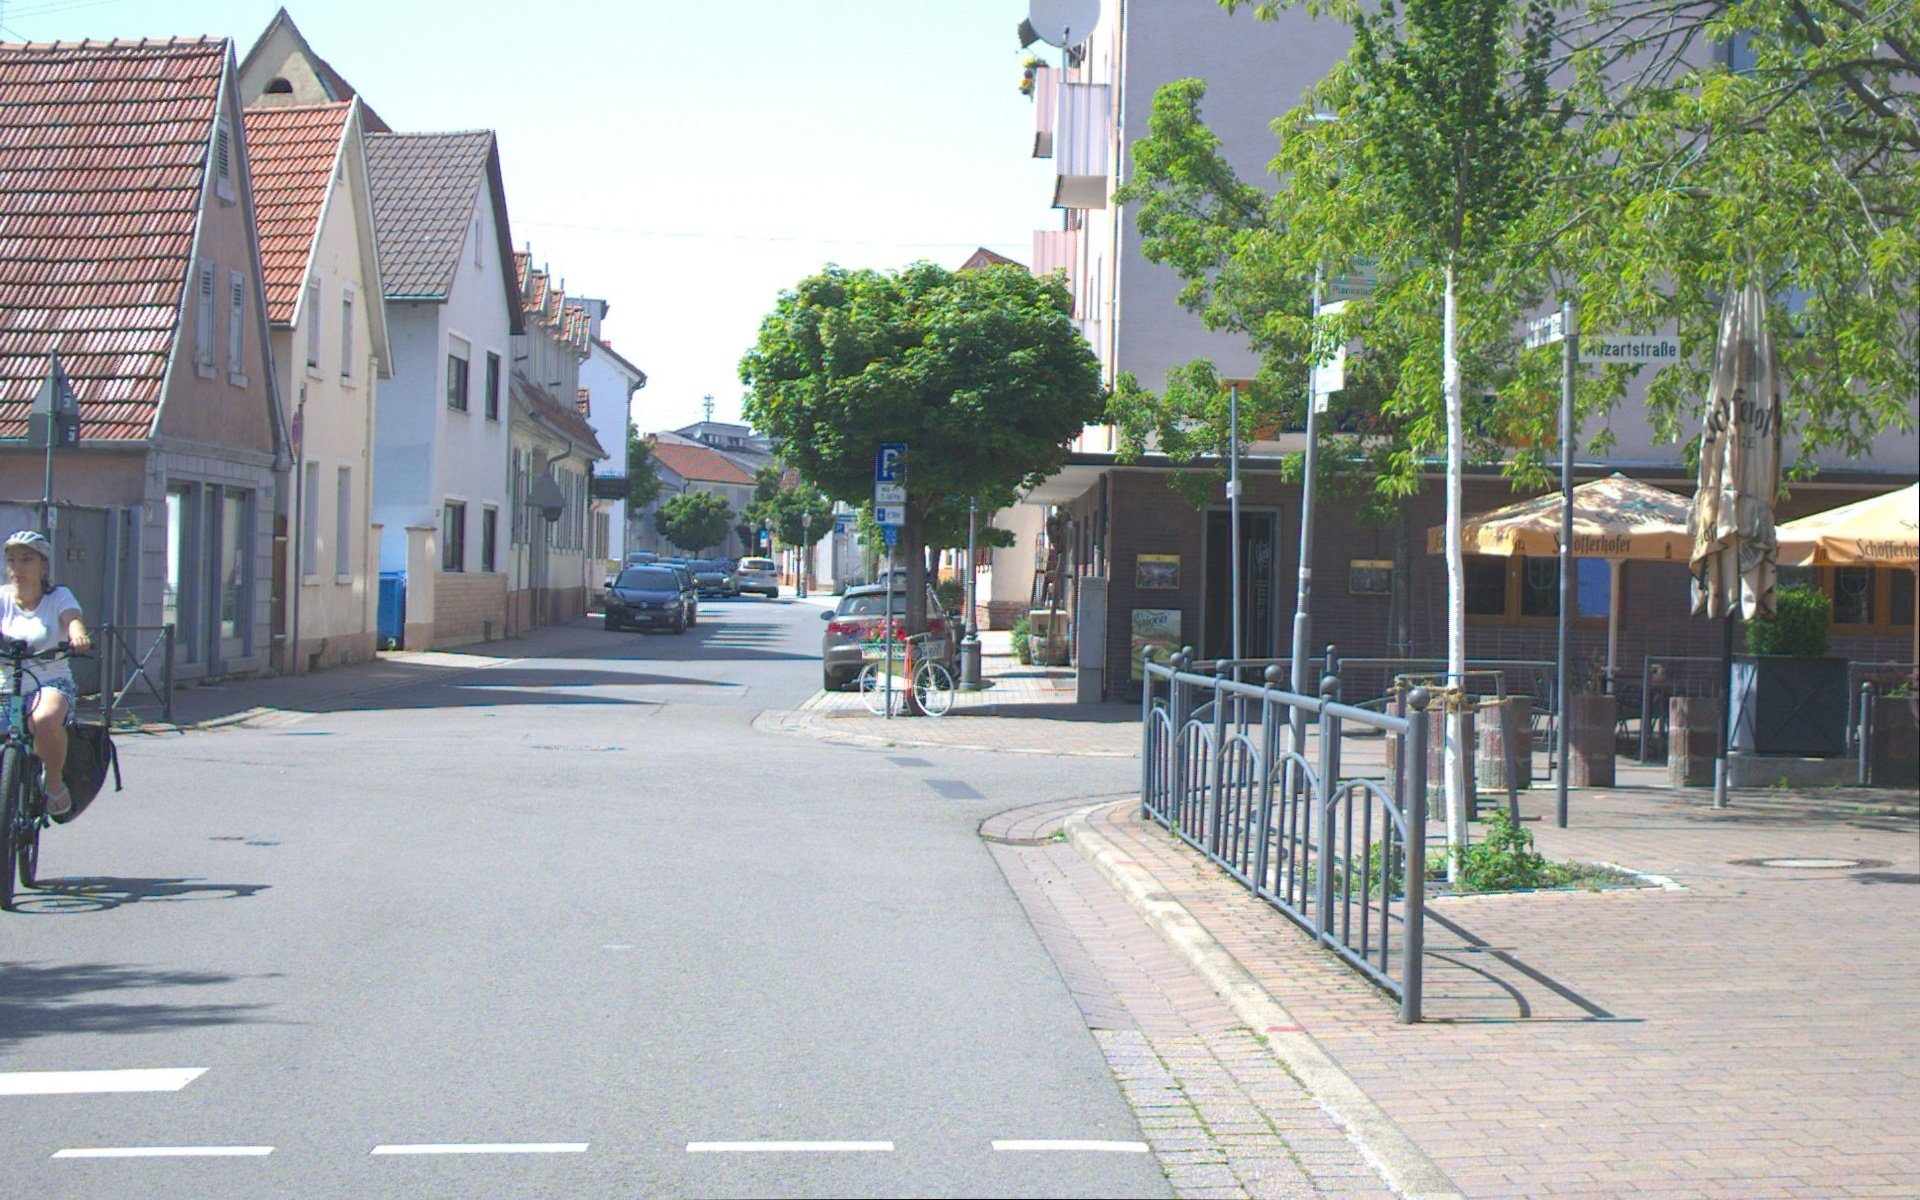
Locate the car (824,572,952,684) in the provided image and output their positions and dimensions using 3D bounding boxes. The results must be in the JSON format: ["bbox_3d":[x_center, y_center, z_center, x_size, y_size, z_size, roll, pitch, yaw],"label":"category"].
[{"bbox_3d":[-0.956,0.360,47.201,1.576,1.449,3.486,1,0,1],"label":"car"}]

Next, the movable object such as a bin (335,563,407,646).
[{"bbox_3d":[-9.726,0.070,56.780,1.102,1.361,0.390,1,0,3],"label":"movable object such as a bin"}]

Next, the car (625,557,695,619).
[{"bbox_3d":[-7.386,-0.308,84.754,1.663,1.471,3.451,1,1,-4],"label":"car"}]

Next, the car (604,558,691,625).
[{"bbox_3d":[-7.079,-0.207,78.200,1.663,1.471,4.135,1,1,-1],"label":"car"}]

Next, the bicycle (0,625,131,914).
[{"bbox_3d":[-4.470,0.767,16.270,0.708,1.248,1.972,-1,1,-4],"label":"bicycle"}]

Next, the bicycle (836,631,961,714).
[{"bbox_3d":[-0.692,0.804,38.582,1.412,0.894,0.464,0,1,36],"label":"bicycle"}]

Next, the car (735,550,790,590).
[{"bbox_3d":[-8.133,-1.236,141.260,2.026,1.592,4.510,1,1,-6],"label":"car"}]

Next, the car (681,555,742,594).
[{"bbox_3d":[-9.860,-0.978,136.087,1.908,1.476,4.845,1,0,-10],"label":"car"}]

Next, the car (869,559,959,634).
[{"bbox_3d":[-1.081,-0.111,81.068,2.043,1.683,4.842,1,1,-1],"label":"car"}]

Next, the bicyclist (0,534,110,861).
[{"bbox_3d":[-4.461,0.442,16.226,0.714,1.501,0.871,1,0,-4],"label":"bicyclist"}]
